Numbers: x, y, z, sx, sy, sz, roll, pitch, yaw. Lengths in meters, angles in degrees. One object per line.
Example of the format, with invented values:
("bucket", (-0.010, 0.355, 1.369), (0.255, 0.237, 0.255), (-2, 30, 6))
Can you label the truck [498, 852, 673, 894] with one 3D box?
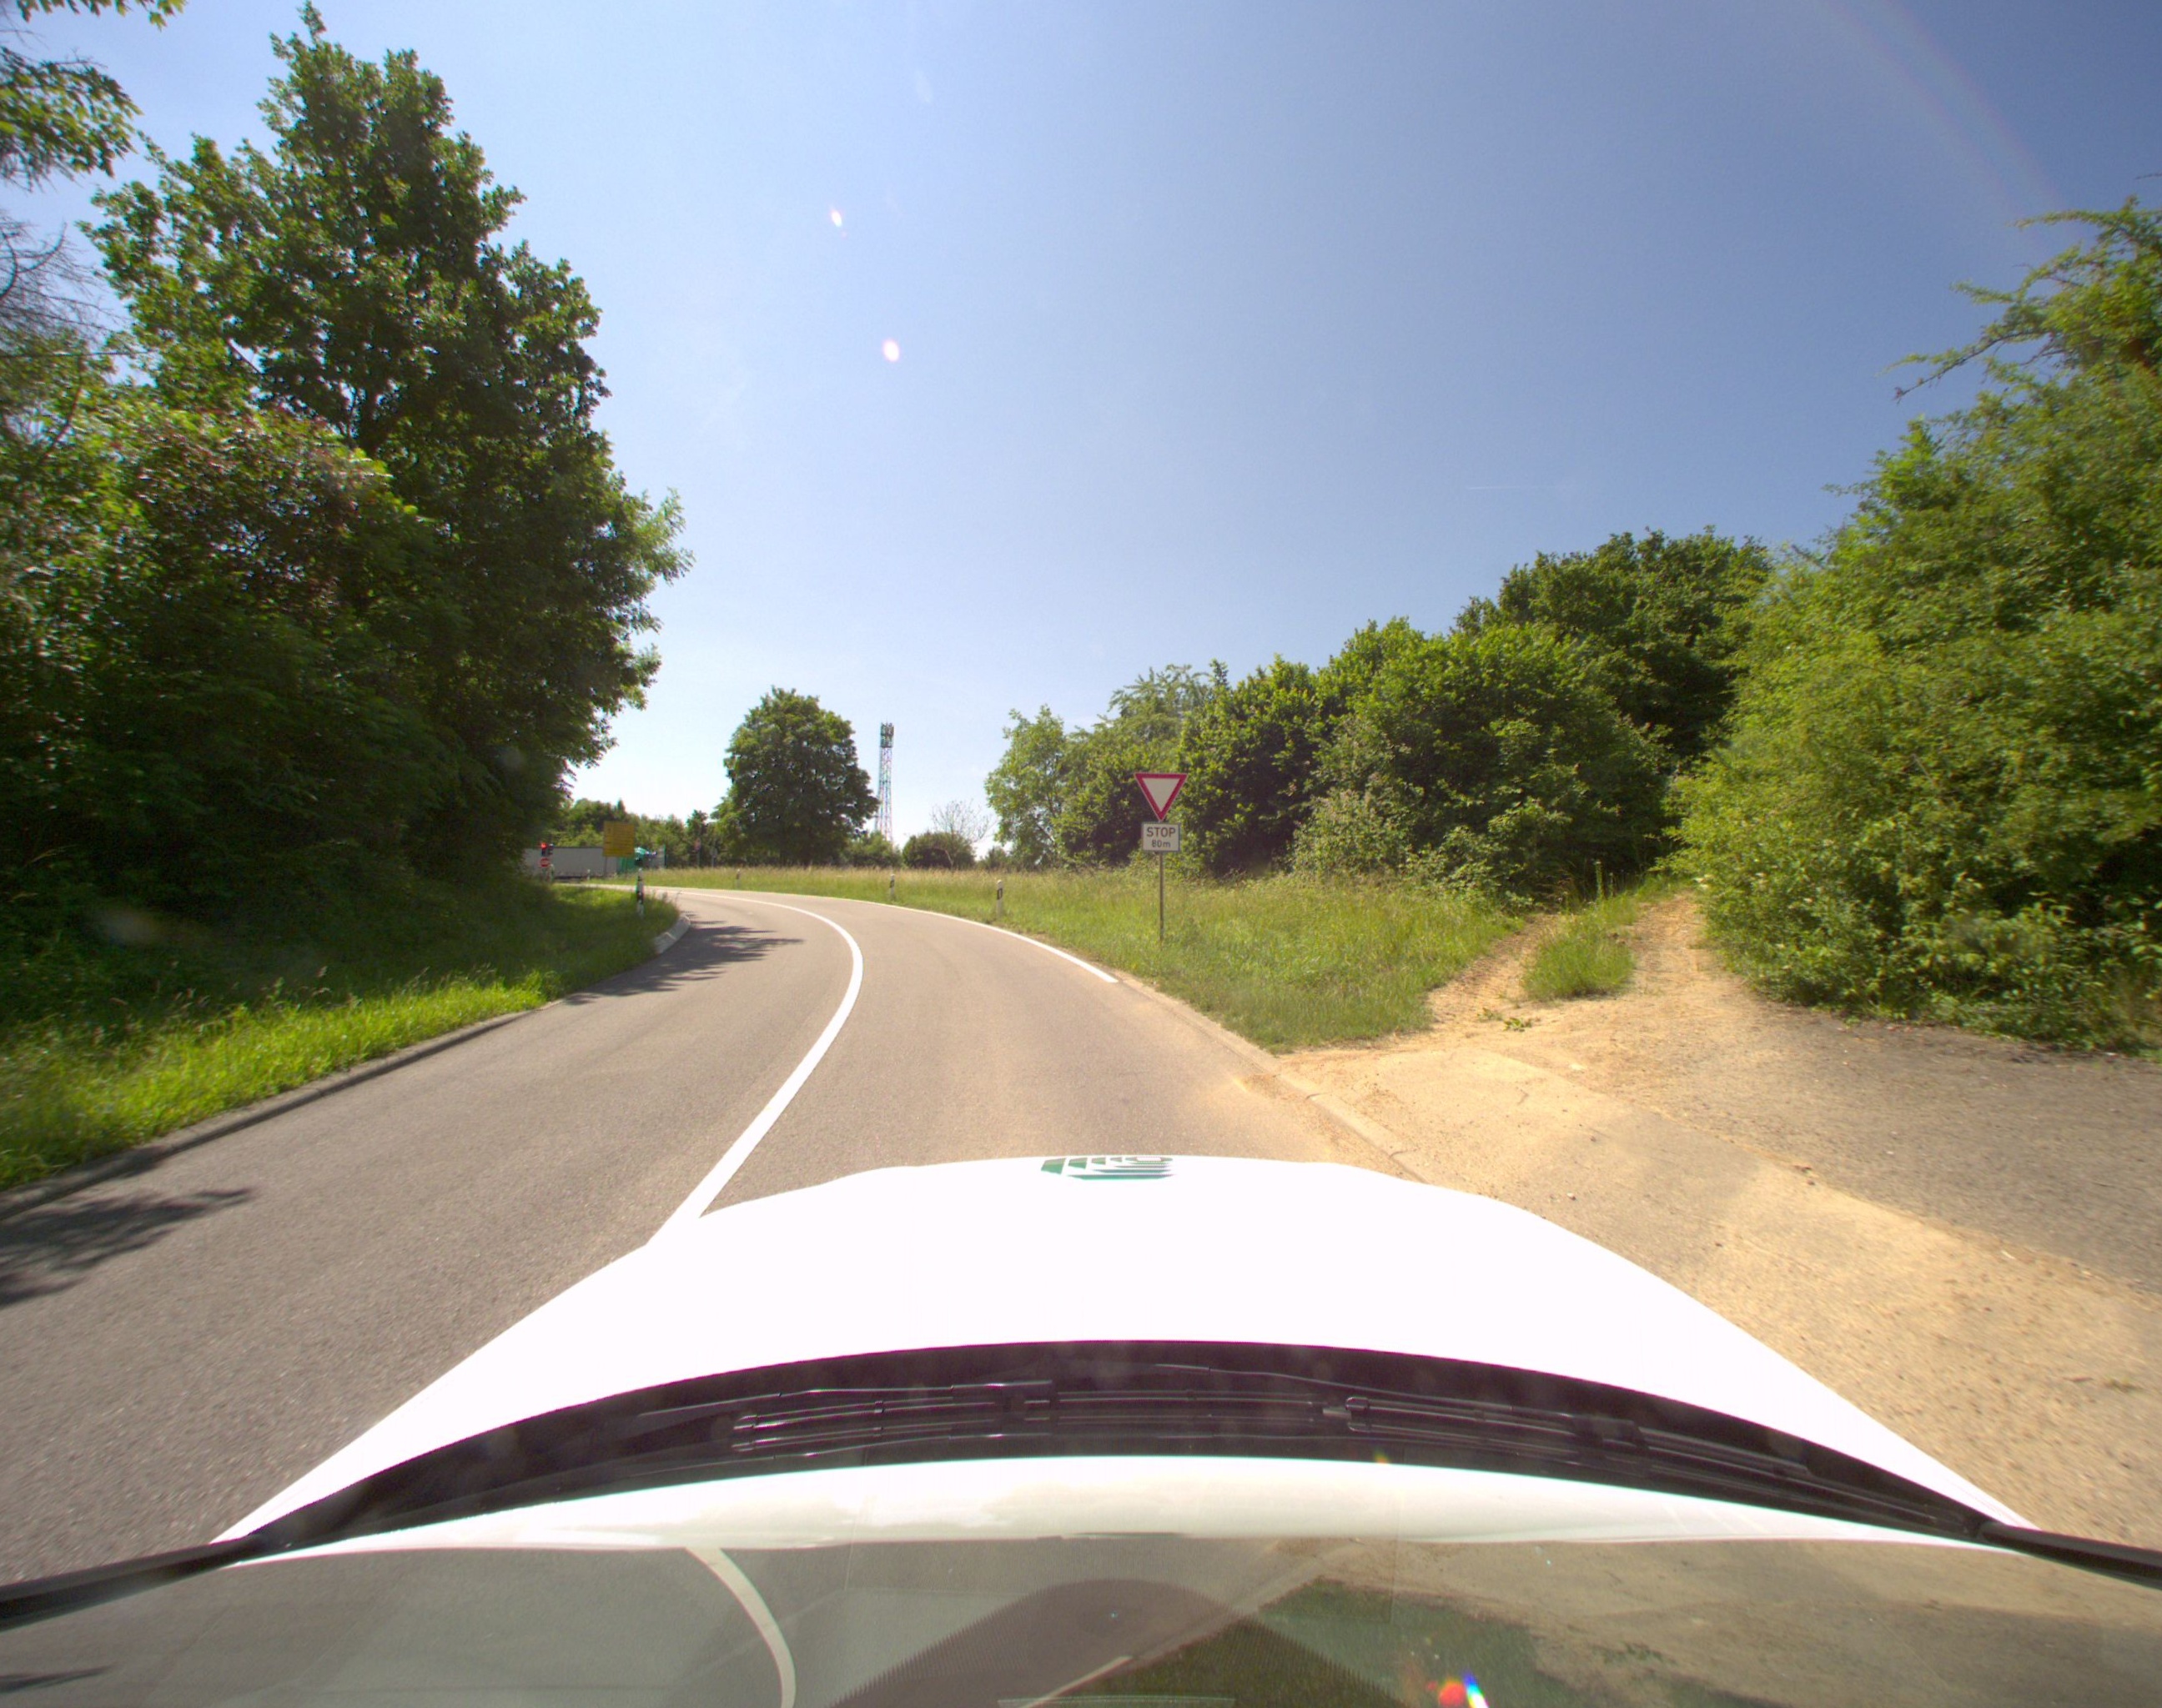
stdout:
("truck", (-50.917, 1.941, 83.912), (16.551, 4.174, 3.139), (0, -2, 5))
